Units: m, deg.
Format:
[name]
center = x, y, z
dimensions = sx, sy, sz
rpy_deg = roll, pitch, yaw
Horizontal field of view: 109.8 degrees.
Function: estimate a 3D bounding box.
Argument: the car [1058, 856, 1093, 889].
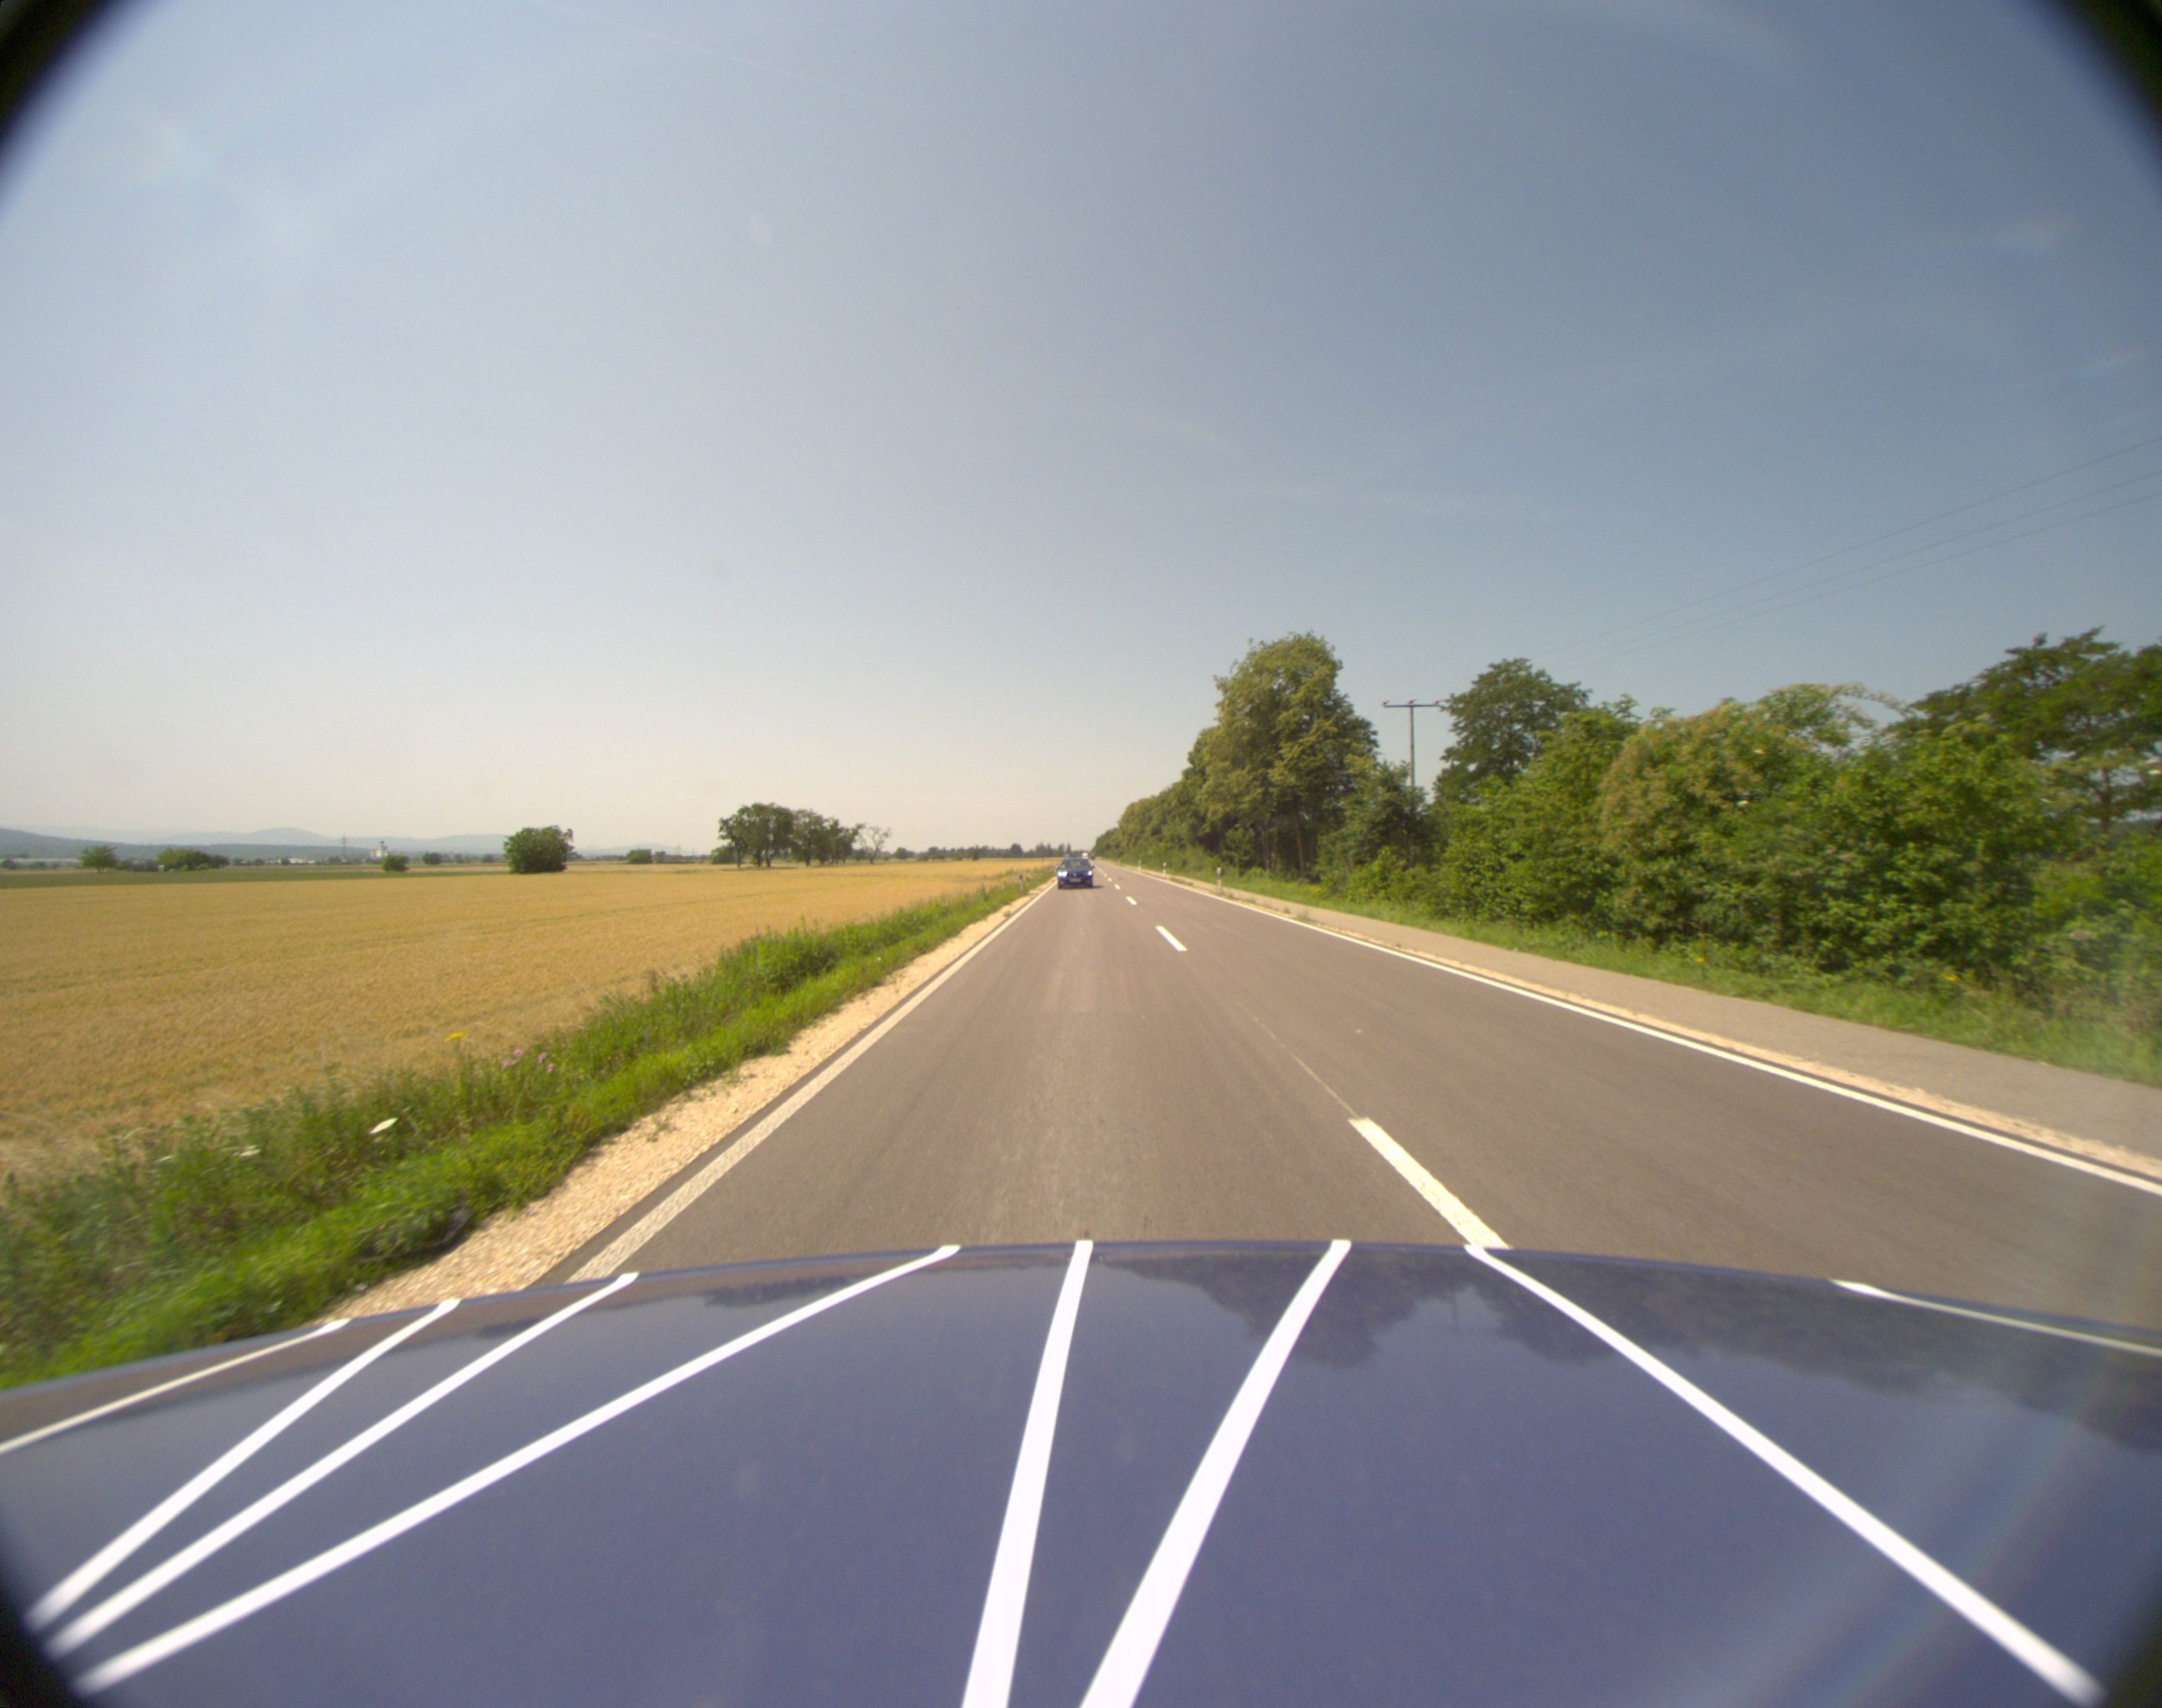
[car]
center = -0.265, 0.888, 38.501
dimensions = 1.662, 1.508, 4.000
rpy_deg = -2, 0, 0
